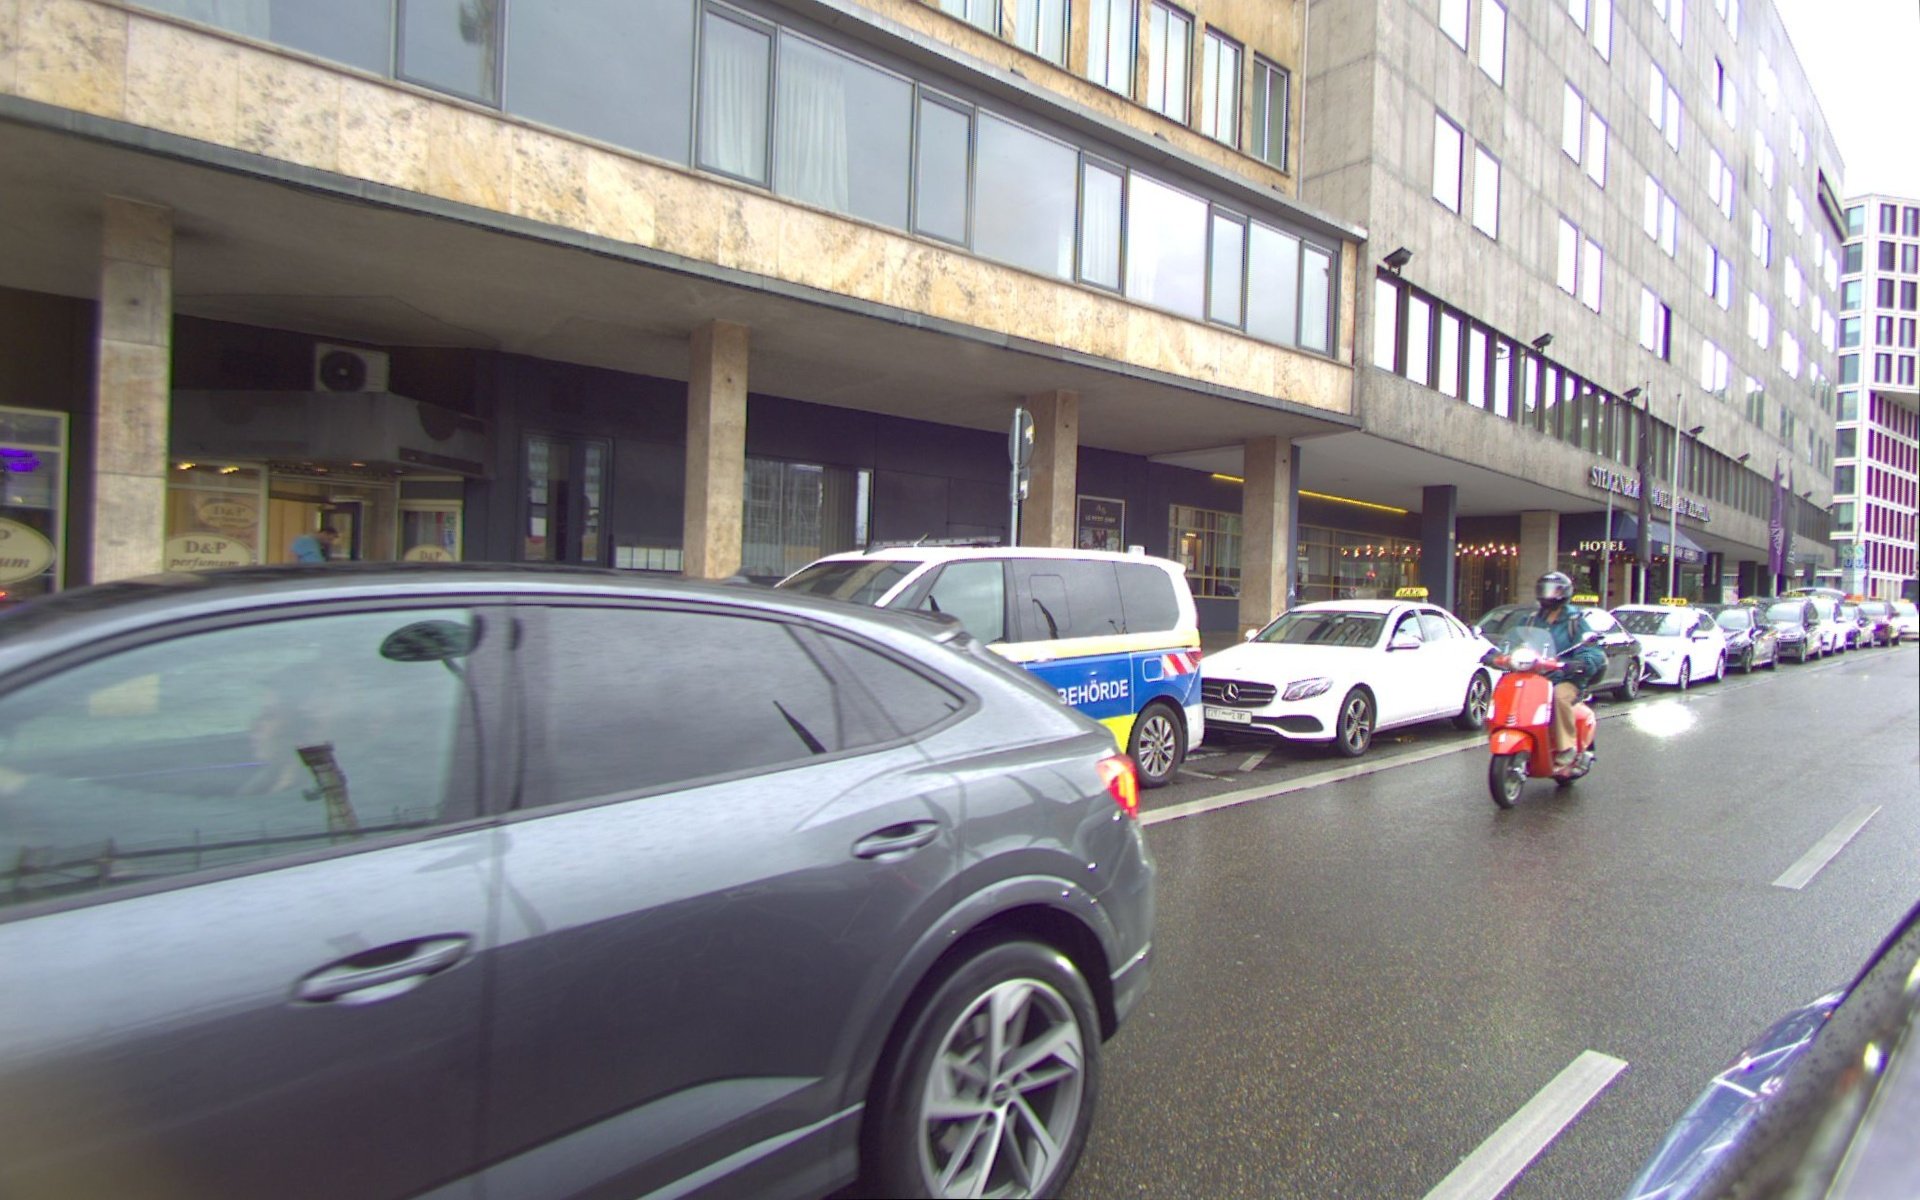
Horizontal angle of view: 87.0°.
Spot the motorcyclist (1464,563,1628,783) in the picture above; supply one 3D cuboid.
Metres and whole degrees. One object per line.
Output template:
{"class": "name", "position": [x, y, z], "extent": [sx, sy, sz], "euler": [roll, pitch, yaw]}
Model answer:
{"class": "motorcyclist", "position": [4.475, 0.509, 7.737], "extent": [0.829, 1.547, 0.860], "euler": [0, 0, -40]}

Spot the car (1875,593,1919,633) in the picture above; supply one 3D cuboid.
{"class": "car", "position": [41.199, 0.531, 43.933], "extent": [3.932, 1.634, 1.729], "euler": [0, 0, -41]}

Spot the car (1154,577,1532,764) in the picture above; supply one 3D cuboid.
{"class": "car", "position": [4.449, 0.607, 11.315], "extent": [4.924, 1.658, 1.877], "euler": [0, 0, -41]}

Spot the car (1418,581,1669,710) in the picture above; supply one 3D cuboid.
{"class": "car", "position": [8.918, 0.564, 15.287], "extent": [4.731, 1.658, 1.877], "euler": [0, 0, -41]}

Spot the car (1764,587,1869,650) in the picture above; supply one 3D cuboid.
{"class": "car", "position": [25.692, 0.492, 30.310], "extent": [4.731, 1.764, 1.729], "euler": [0, 0, -41]}

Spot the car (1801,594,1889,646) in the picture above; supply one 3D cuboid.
{"class": "car", "position": [29.699, 0.607, 33.947], "extent": [3.932, 1.634, 1.729], "euler": [0, 0, -41]}

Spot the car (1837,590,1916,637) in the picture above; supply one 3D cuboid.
{"class": "car", "position": [33.662, 0.469, 37.146], "extent": [3.932, 1.634, 1.729], "euler": [0, 0, -41]}

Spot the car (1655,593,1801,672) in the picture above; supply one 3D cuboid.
{"class": "car", "position": [17.390, 0.649, 22.828], "extent": [4.731, 1.612, 1.729], "euler": [0, 0, -41]}

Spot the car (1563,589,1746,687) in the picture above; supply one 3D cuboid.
{"class": "car", "position": [13.133, 0.612, 19.016], "extent": [4.731, 1.612, 1.729], "euler": [0, 0, -41]}

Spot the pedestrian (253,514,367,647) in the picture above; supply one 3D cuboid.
{"class": "pedestrian", "position": [-9.128, -0.268, 14.236], "extent": [1.117, 1.813, 0.799], "euler": [0, 0, 8]}

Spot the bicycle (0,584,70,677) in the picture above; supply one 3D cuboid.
{"class": "bicycle", "position": [-11.651, 0.350, 11.403], "extent": [2.428, 1.059, 0.657], "euler": [0, 0, -41]}

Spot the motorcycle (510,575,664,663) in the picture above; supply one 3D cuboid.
{"class": "motorcycle", "position": [-5.493, 0.255, 14.951], "extent": [2.063, 1.233, 0.569], "euler": [0, 0, -33]}

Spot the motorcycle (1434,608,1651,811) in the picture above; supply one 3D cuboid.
{"class": "motorcycle", "position": [4.478, 0.737, 7.722], "extent": [1.931, 1.323, 0.848], "euler": [0, 0, -41]}

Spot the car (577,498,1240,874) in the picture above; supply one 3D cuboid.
{"class": "car", "position": [-0.091, 0.423, 7.555], "extent": [4.850, 1.944, 1.877], "euler": [0, 0, -41]}

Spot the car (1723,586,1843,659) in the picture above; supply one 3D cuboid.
{"class": "car", "position": [21.909, 0.529, 26.876], "extent": [4.731, 1.764, 1.729], "euler": [0, 0, -41]}

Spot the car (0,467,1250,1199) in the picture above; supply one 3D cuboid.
{"class": "car", "position": [-1.409, 0.599, 2.177], "extent": [4.266, 1.520, 1.882], "euler": [0, 0, -41]}
